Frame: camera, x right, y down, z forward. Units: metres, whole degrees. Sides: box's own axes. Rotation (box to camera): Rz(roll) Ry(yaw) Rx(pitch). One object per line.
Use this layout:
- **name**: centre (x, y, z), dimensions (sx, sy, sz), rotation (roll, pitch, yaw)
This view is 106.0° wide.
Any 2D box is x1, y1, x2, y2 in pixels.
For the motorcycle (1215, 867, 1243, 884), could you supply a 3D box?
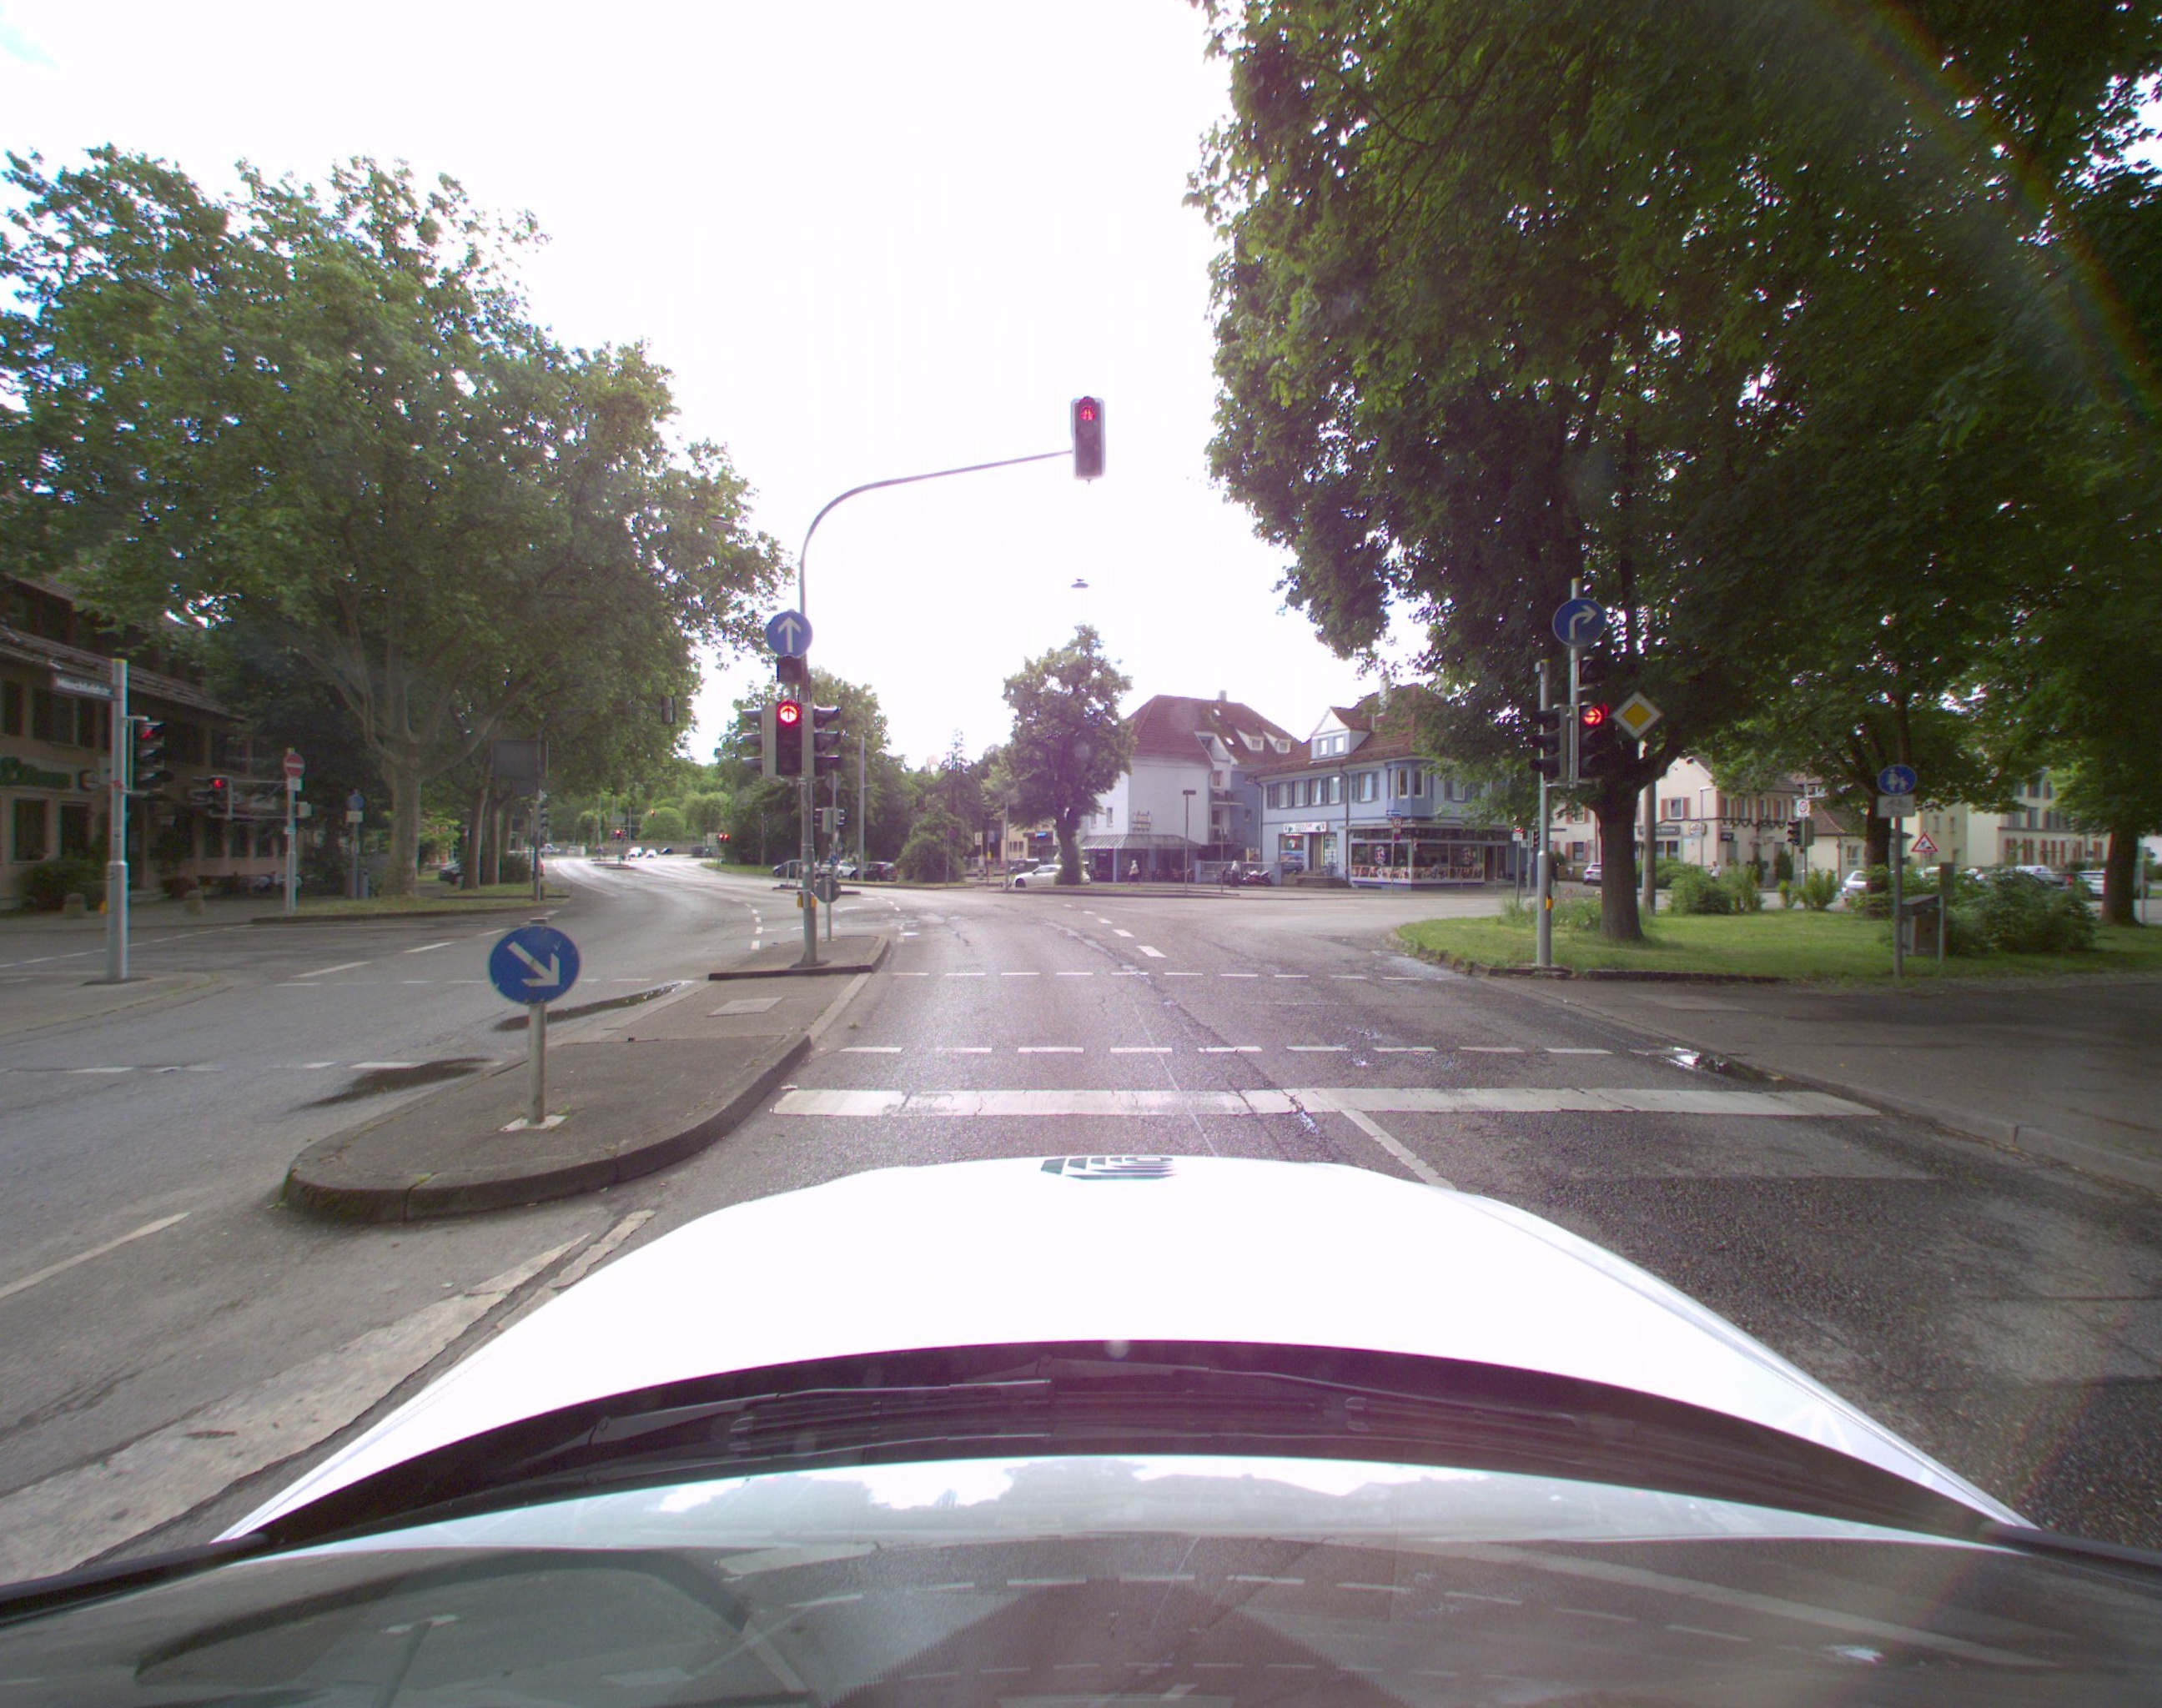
- **motorcycle**: centre (9.111, 1.312, 50.080), dimensions (0.699, 1.064, 1.617), rotation (0, -1, -44)

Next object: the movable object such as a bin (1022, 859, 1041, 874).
- **movable object such as a bin**: centre (-4.526, 1.132, 74.251), dimensions (1.447, 1.409, 0.959), rotation (0, -1, -25)

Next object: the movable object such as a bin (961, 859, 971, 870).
- **movable object such as a bin**: centre (-12.224, 1.119, 86.642), dimensions (0.953, 1.115, 0.381), rotation (0, -1, -19)

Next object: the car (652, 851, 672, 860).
- **car**: centre (-95.502, 0.436, 185.604), dimensions (4.011, 2.014, 1.981), rotation (0, -1, -29)

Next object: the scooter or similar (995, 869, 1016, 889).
- **scooter or similar**: centre (-3.980, 1.289, 42.884), dimensions (0.413, 1.011, 1.575), rotation (-1, -1, 22)

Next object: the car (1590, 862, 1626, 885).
- **car**: centre (32.600, 1.182, 50.344), dimensions (1.481, 1.369, 3.198), rotation (-1, -1, 40)

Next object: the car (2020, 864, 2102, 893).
- **car**: centre (47.001, 1.164, 39.062), dimensions (3.511, 1.321, 1.549), rotation (0, 0, -22)

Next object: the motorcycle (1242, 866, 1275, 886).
- **motorcycle**: centre (10.532, 1.286, 48.266), dimensions (1.777, 1.121, 0.699), rotation (0, -1, 40)

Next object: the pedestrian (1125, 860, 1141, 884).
- **pedestrian**: centre (3.345, 1.157, 52.357), dimensions (0.699, 1.545, 0.682), rotation (-1, -1, 42)

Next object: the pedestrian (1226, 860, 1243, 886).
- **pedestrian**: centre (9.043, 1.100, 47.929), dimensions (0.759, 1.545, 0.682), rotation (-1, -1, 41)

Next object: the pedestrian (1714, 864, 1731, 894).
- **pedestrian**: centre (35.795, 1.396, 45.423), dimensions (0.612, 1.649, 0.605), rotation (0, -1, -37)

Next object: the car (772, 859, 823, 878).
- **car**: centre (-22.441, 1.114, 64.487), dimensions (3.520, 1.464, 1.591), rotation (0, 0, 14)

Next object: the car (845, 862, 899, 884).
- **car**: centre (-13.909, 1.266, 54.208), dimensions (3.549, 1.394, 1.481), rotation (0, -1, 34)

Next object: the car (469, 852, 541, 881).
- **car**: centre (-35.487, 0.757, 50.285), dimensions (3.461, 1.742, 1.557), rotation (0, -1, -31)

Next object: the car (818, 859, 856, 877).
- **car**: centre (-20.082, 1.130, 67.189), dimensions (1.534, 1.464, 3.407), rotation (0, 0, 13)

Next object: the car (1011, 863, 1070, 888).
- **car**: centre (-2.311, 1.201, 46.241), dimensions (3.134, 1.354, 1.448), rotation (0, -1, 36)

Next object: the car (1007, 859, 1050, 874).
- **car**: centre (-4.884, 1.134, 76.159), dimensions (3.752, 1.345, 1.422), rotation (0, 0, -25)

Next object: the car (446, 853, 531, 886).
- **car**: centre (-31.004, 0.784, 42.720), dimensions (3.461, 1.641, 1.557), rotation (0, -1, -31)

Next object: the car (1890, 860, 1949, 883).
- **car**: centre (55.113, 1.124, 53.533), dimensions (4.007, 1.420, 1.544), rotation (0, 0, -26)

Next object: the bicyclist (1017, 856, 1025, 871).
- **bicyclist**: centre (-6.244, 0.955, 84.917), dimensions (0.739, 1.541, 0.596), rotation (0, -1, -17)

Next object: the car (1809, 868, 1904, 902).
- **car**: centre (31.960, 1.250, 33.571), dimensions (3.511, 1.321, 1.549), rotation (0, 0, -22)

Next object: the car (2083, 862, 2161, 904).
- **car**: centre (52.829, 1.432, 41.129), dimensions (4.004, 2.014, 1.770), rotation (0, -1, -23)

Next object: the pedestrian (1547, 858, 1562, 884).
- **pedestrian**: centre (27.176, 0.974, 46.752), dimensions (0.459, 1.517, 0.584), rotation (0, -1, -19)

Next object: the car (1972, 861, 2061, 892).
- **car**: centre (42.214, 0.974, 36.755), dimensions (3.510, 1.321, 1.549), rotation (0, 0, -21)
